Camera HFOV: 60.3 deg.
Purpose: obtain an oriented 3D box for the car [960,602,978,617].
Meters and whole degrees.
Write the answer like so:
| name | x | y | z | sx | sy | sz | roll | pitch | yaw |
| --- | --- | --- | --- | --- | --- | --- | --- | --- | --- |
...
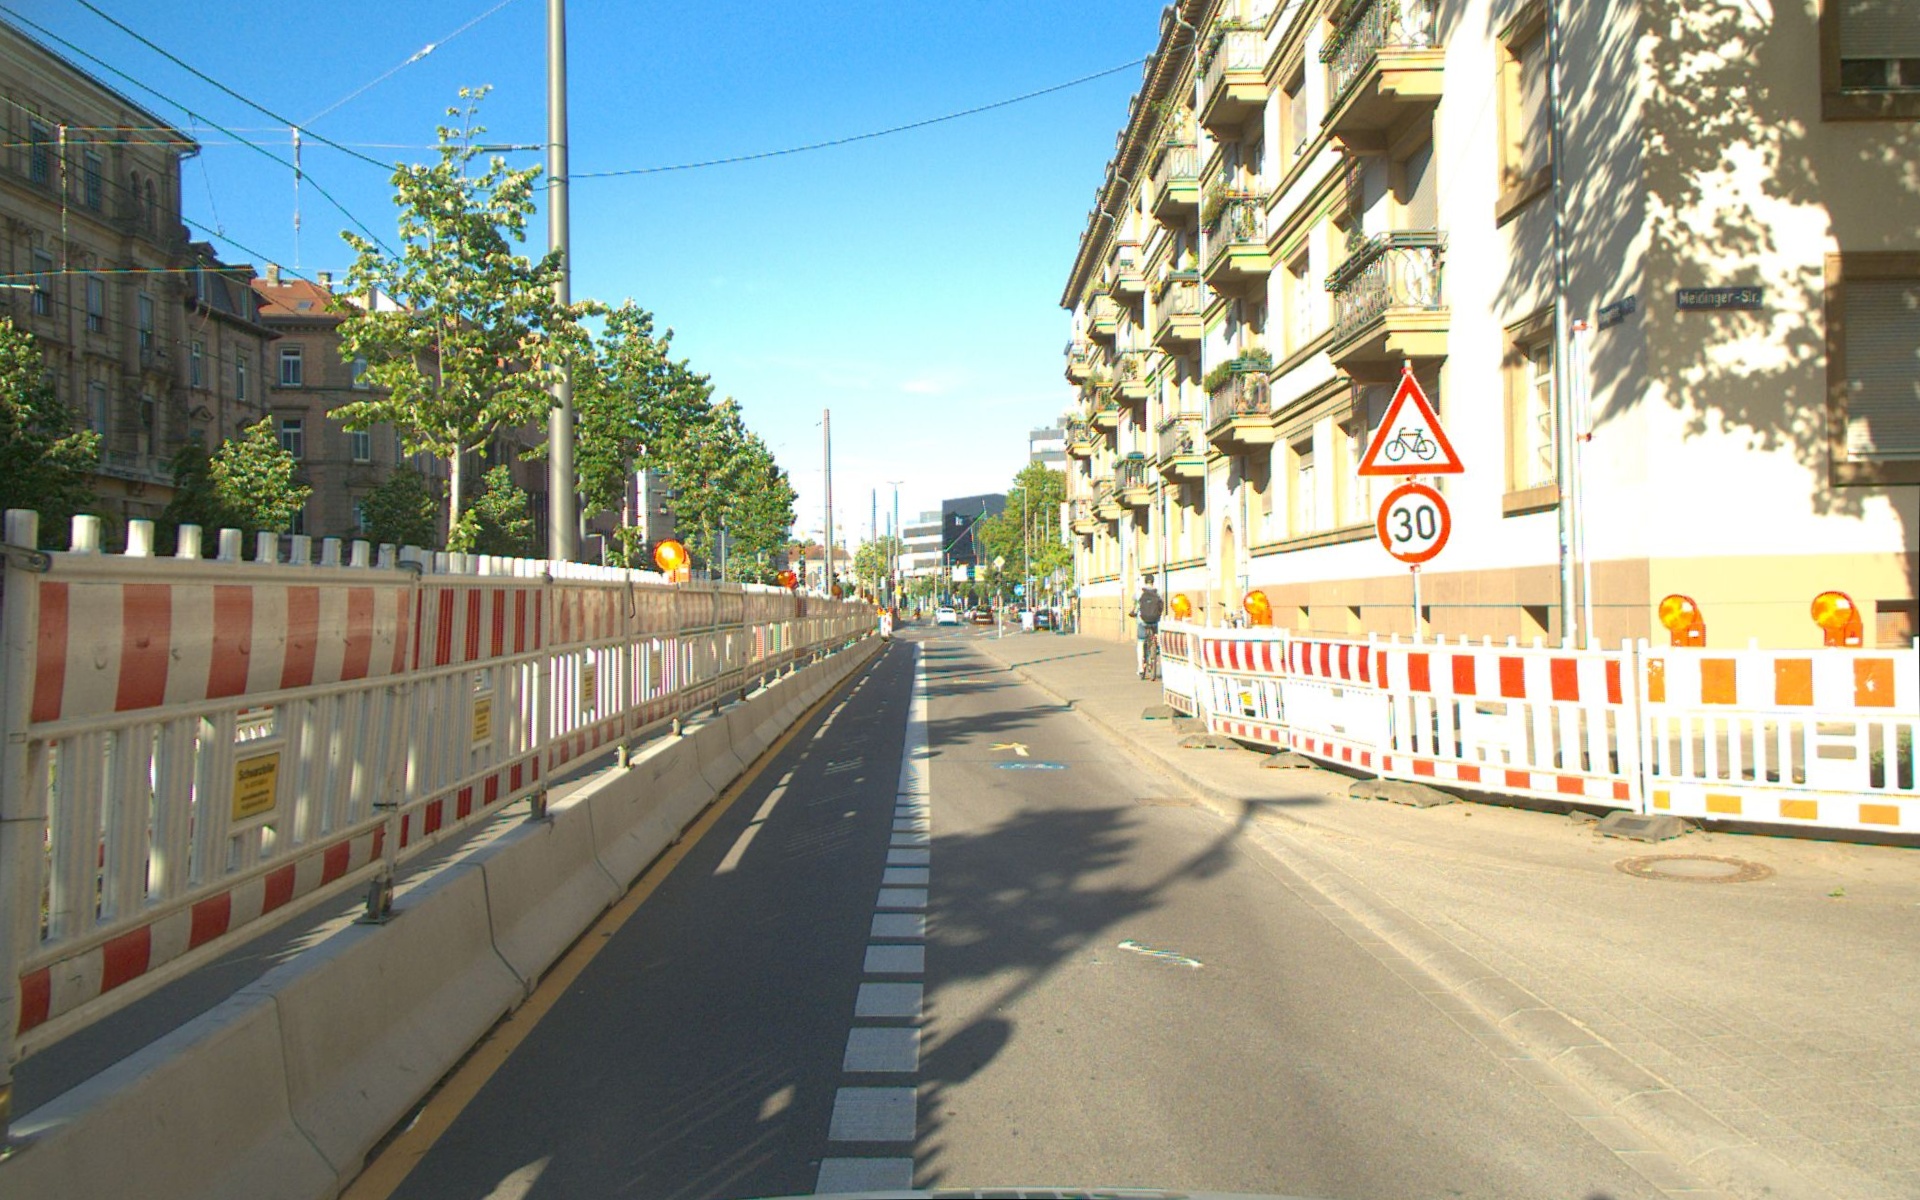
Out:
| name | x | y | z | sx | sy | sz | roll | pitch | yaw |
| --- | --- | --- | --- | --- | --- | --- | --- | --- | --- |
| car | 0.978 | 1.035 | 177.581 | 1.813 | 1.524 | 4.378 | -1 | 0 | -1 |

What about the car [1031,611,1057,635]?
| name | x | y | z | sx | sy | sz | roll | pitch | yaw |
| --- | --- | --- | --- | --- | --- | --- | --- | --- | --- |
| car | 6.291 | 1.706 | 123.878 | 1.684 | 1.665 | 4.233 | -2 | -1 | 5 |

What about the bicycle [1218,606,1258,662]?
| name | x | y | z | sx | sy | sz | roll | pitch | yaw |
| --- | --- | --- | --- | --- | --- | --- | --- | --- | --- |
| bicycle | 5.791 | 0.692 | 34.507 | 0.409 | 1.114 | 2.197 | -1 | -1 | -1 |

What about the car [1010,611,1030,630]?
| name | x | y | z | sx | sy | sz | roll | pitch | yaw |
| --- | --- | --- | --- | --- | --- | --- | --- | --- | --- |
| car | 5.964 | 2.044 | 164.786 | 1.809 | 1.587 | 4.634 | 1 | 3 | 0 |

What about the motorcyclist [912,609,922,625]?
| name | x | y | z | sx | sy | sz | roll | pitch | yaw |
| --- | --- | --- | --- | --- | --- | --- | --- | --- | --- |
| motorcyclist | -4.506 | 1.760 | 172.912 | 0.998 | 1.631 | 1.148 | 1 | -1 | -1 |

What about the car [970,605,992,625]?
| name | x | y | z | sx | sy | sz | roll | pitch | yaw |
| --- | --- | --- | --- | --- | --- | --- | --- | --- | --- |
| car | 1.951 | 1.376 | 152.937 | 1.935 | 1.790 | 4.632 | 1 | 0 | 0 |

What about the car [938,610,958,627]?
| name | x | y | z | sx | sy | sz | roll | pitch | yaw |
| --- | --- | --- | --- | --- | --- | --- | --- | --- | --- |
| car | -1.071 | 1.648 | 146.678 | 1.744 | 1.439 | 4.817 | 1 | 0 | -1 |

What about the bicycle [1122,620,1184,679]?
| name | x | y | z | sx | sy | sz | roll | pitch | yaw |
| --- | --- | --- | --- | --- | --- | --- | --- | --- | --- |
| bicycle | 3.327 | 0.837 | 28.699 | 0.752 | 0.969 | 2.197 | -1 | -1 | -2 |

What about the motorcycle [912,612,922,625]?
| name | x | y | z | sx | sy | sz | roll | pitch | yaw |
| --- | --- | --- | --- | --- | --- | --- | --- | --- | --- |
| motorcycle | -4.502 | 1.937 | 172.803 | 0.998 | 1.335 | 2.914 | 1 | 0 | 0 |

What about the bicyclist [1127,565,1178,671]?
| name | x | y | z | sx | sy | sz | roll | pitch | yaw |
| --- | --- | --- | --- | --- | --- | --- | --- | --- | --- |
| bicyclist | 3.328 | 0.307 | 28.649 | 0.718 | 1.794 | 0.937 | -1 | -1 | -2 |

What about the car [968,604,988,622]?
| name | x | y | z | sx | sy | sz | roll | pitch | yaw |
| --- | --- | --- | --- | --- | --- | --- | --- | --- | --- |
| car | 1.712 | 1.277 | 160.463 | 1.813 | 1.668 | 4.377 | 1 | -2 | -1 |
